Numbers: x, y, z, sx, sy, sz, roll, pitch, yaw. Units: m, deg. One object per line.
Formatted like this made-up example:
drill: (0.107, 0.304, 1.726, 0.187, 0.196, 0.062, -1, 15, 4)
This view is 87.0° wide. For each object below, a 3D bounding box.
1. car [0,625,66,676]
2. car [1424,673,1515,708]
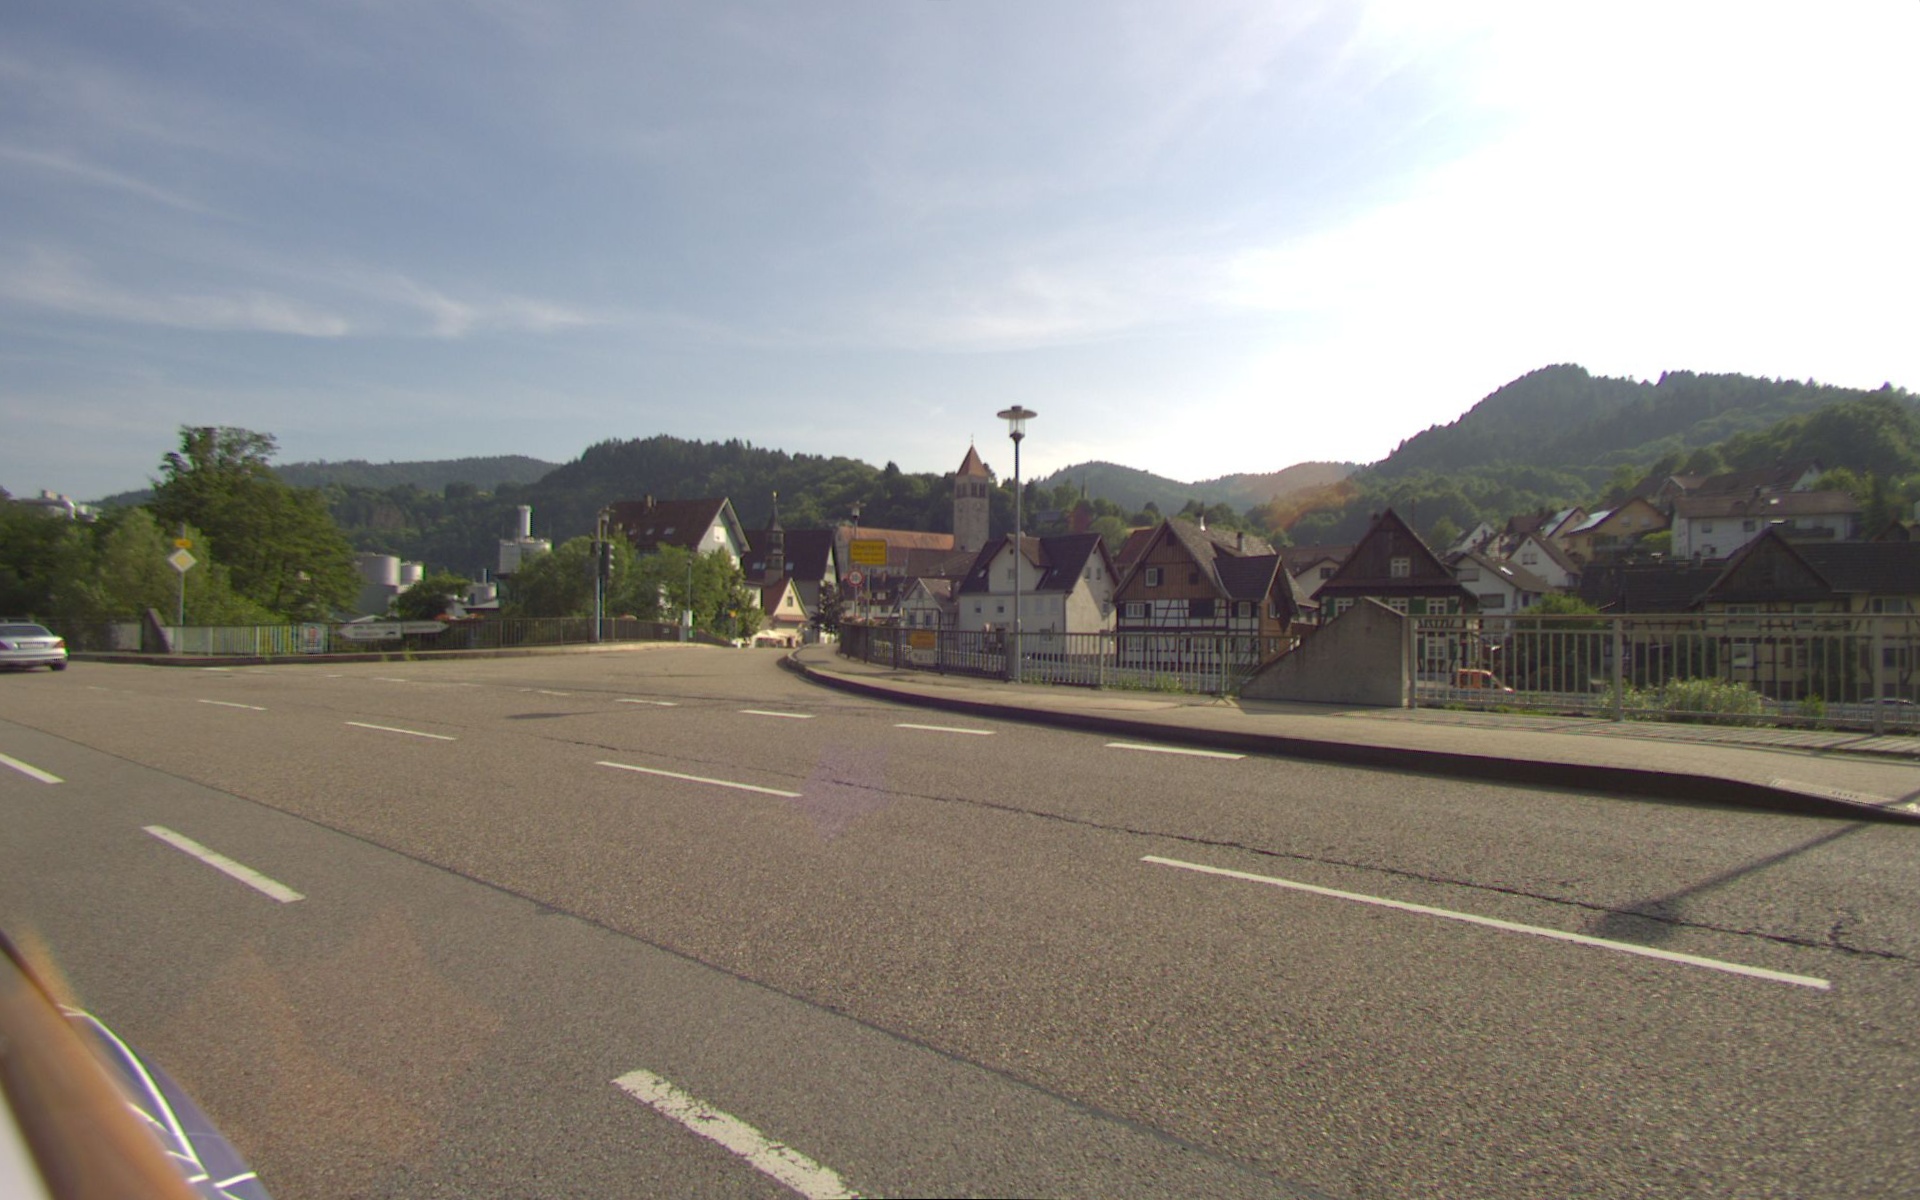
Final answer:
car: (-25.174, 1.294, 26.471, 4.081, 1.241, 1.632, -1, -1, 33)
car: (28.866, 5.109, 57.382, 4.528, 1.705, 1.481, -1, -1, 32)
